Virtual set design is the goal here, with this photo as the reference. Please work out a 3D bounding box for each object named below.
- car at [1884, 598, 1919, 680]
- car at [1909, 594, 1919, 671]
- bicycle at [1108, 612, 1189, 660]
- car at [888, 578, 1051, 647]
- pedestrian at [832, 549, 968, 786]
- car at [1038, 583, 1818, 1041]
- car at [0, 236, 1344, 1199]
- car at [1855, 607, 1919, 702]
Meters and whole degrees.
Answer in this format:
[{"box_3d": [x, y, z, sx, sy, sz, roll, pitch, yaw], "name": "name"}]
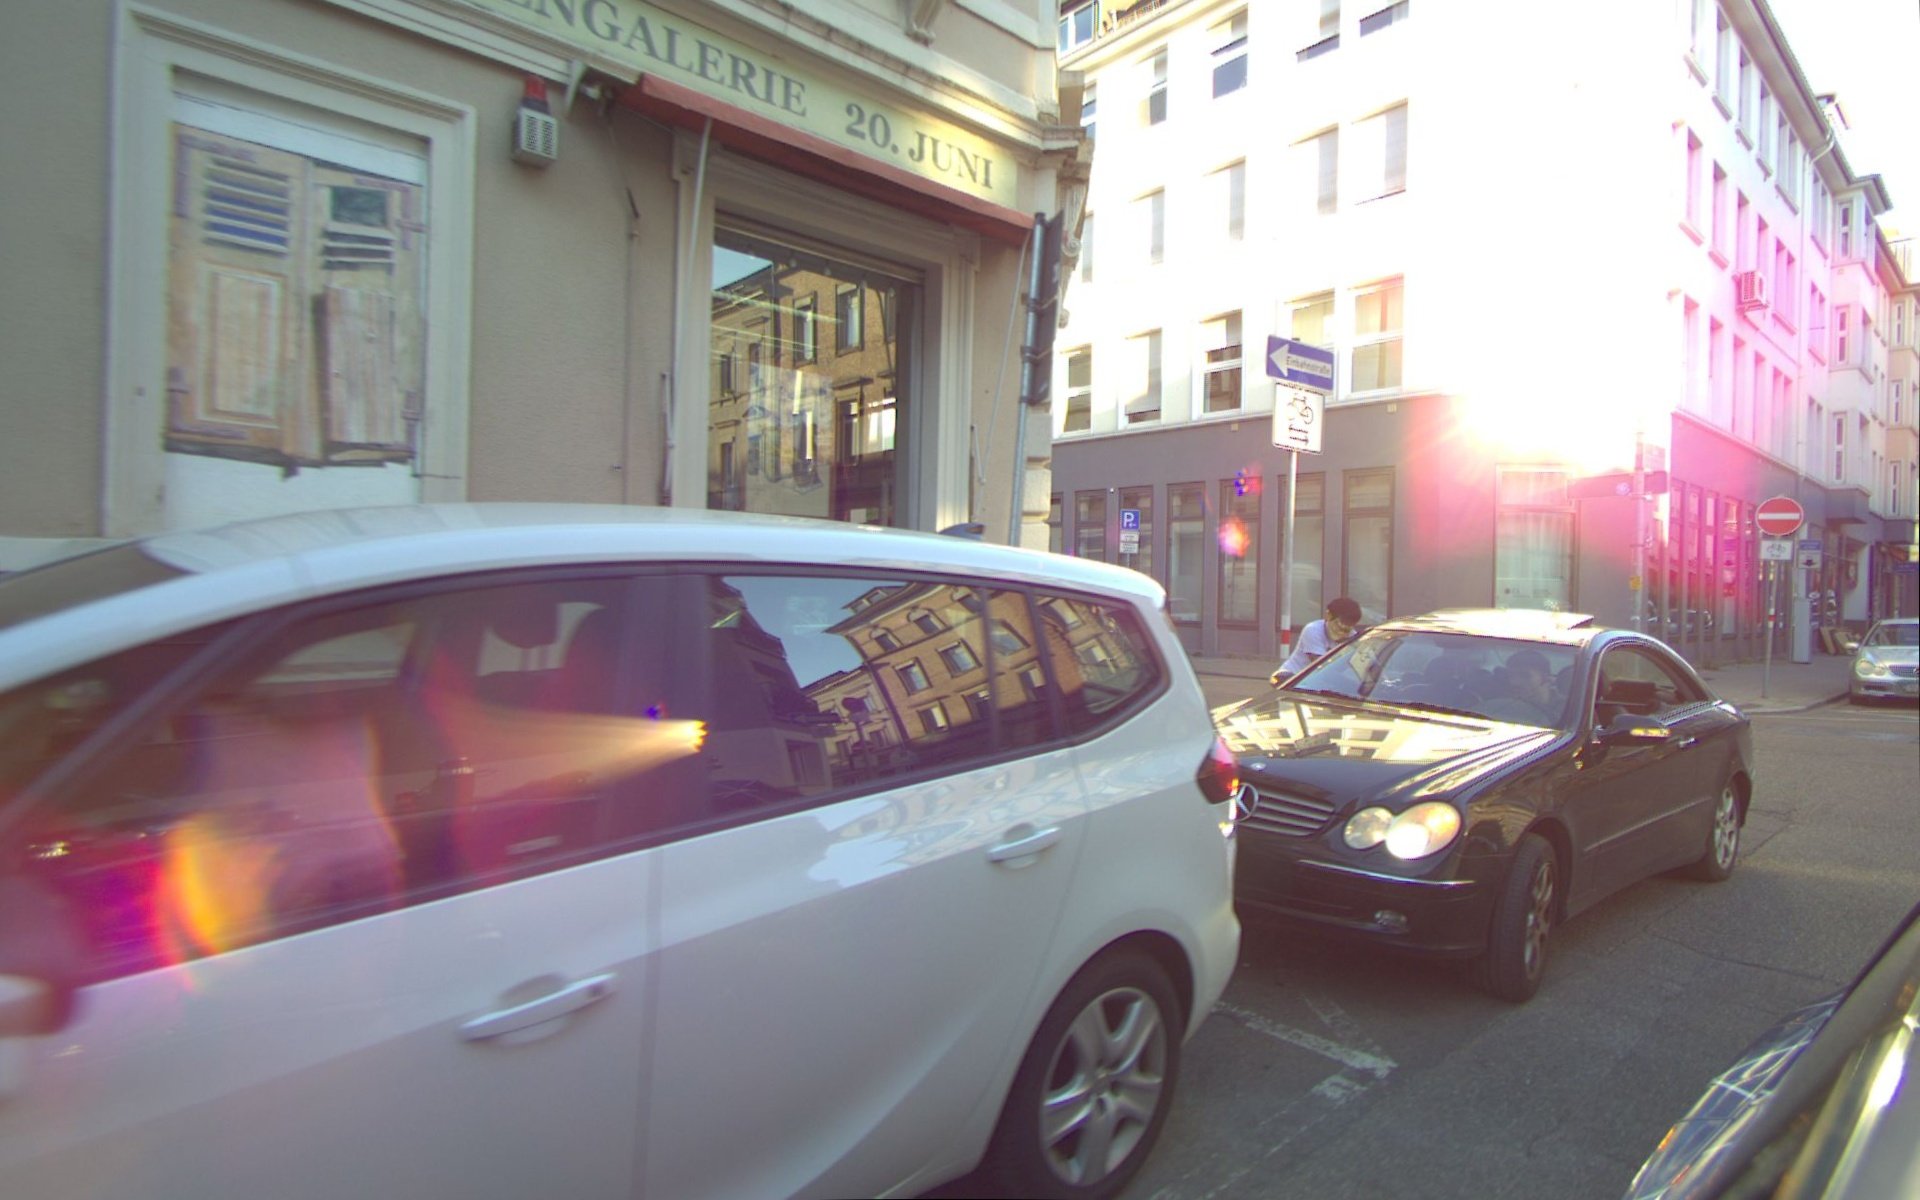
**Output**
[{"box_3d": [20.162, 0.790, 20.253, 4.045, 1.544, 2.012, 1, 1, -41], "name": "car"}, {"box_3d": [24.399, 0.807, 23.986, 4.409, 1.766, 2.334, 1, 1, -41], "name": "car"}, {"box_3d": [3.911, 0.738, 21.114, 0.587, 0.916, 1.642, 1, 0, -40], "name": "bicycle"}, {"box_3d": [0.151, 0.257, 23.848, 1.634, 1.431, 3.875, 2, 1, -42], "name": "car"}, {"box_3d": [-0.411, 0.415, 6.797, 0.570, 1.490, 0.716, 1, 1, -41], "name": "pedestrian"}, {"box_3d": [2.771, 0.695, 5.403, 4.643, 1.426, 1.889, 1, 1, -39], "name": "car"}, {"box_3d": [-1.149, 0.476, 2.165, 4.383, 1.745, 1.820, 1, 1, -41], "name": "car"}, {"box_3d": [16.091, 0.855, 16.594, 4.413, 1.420, 1.752, 1, -1, -43], "name": "car"}]
